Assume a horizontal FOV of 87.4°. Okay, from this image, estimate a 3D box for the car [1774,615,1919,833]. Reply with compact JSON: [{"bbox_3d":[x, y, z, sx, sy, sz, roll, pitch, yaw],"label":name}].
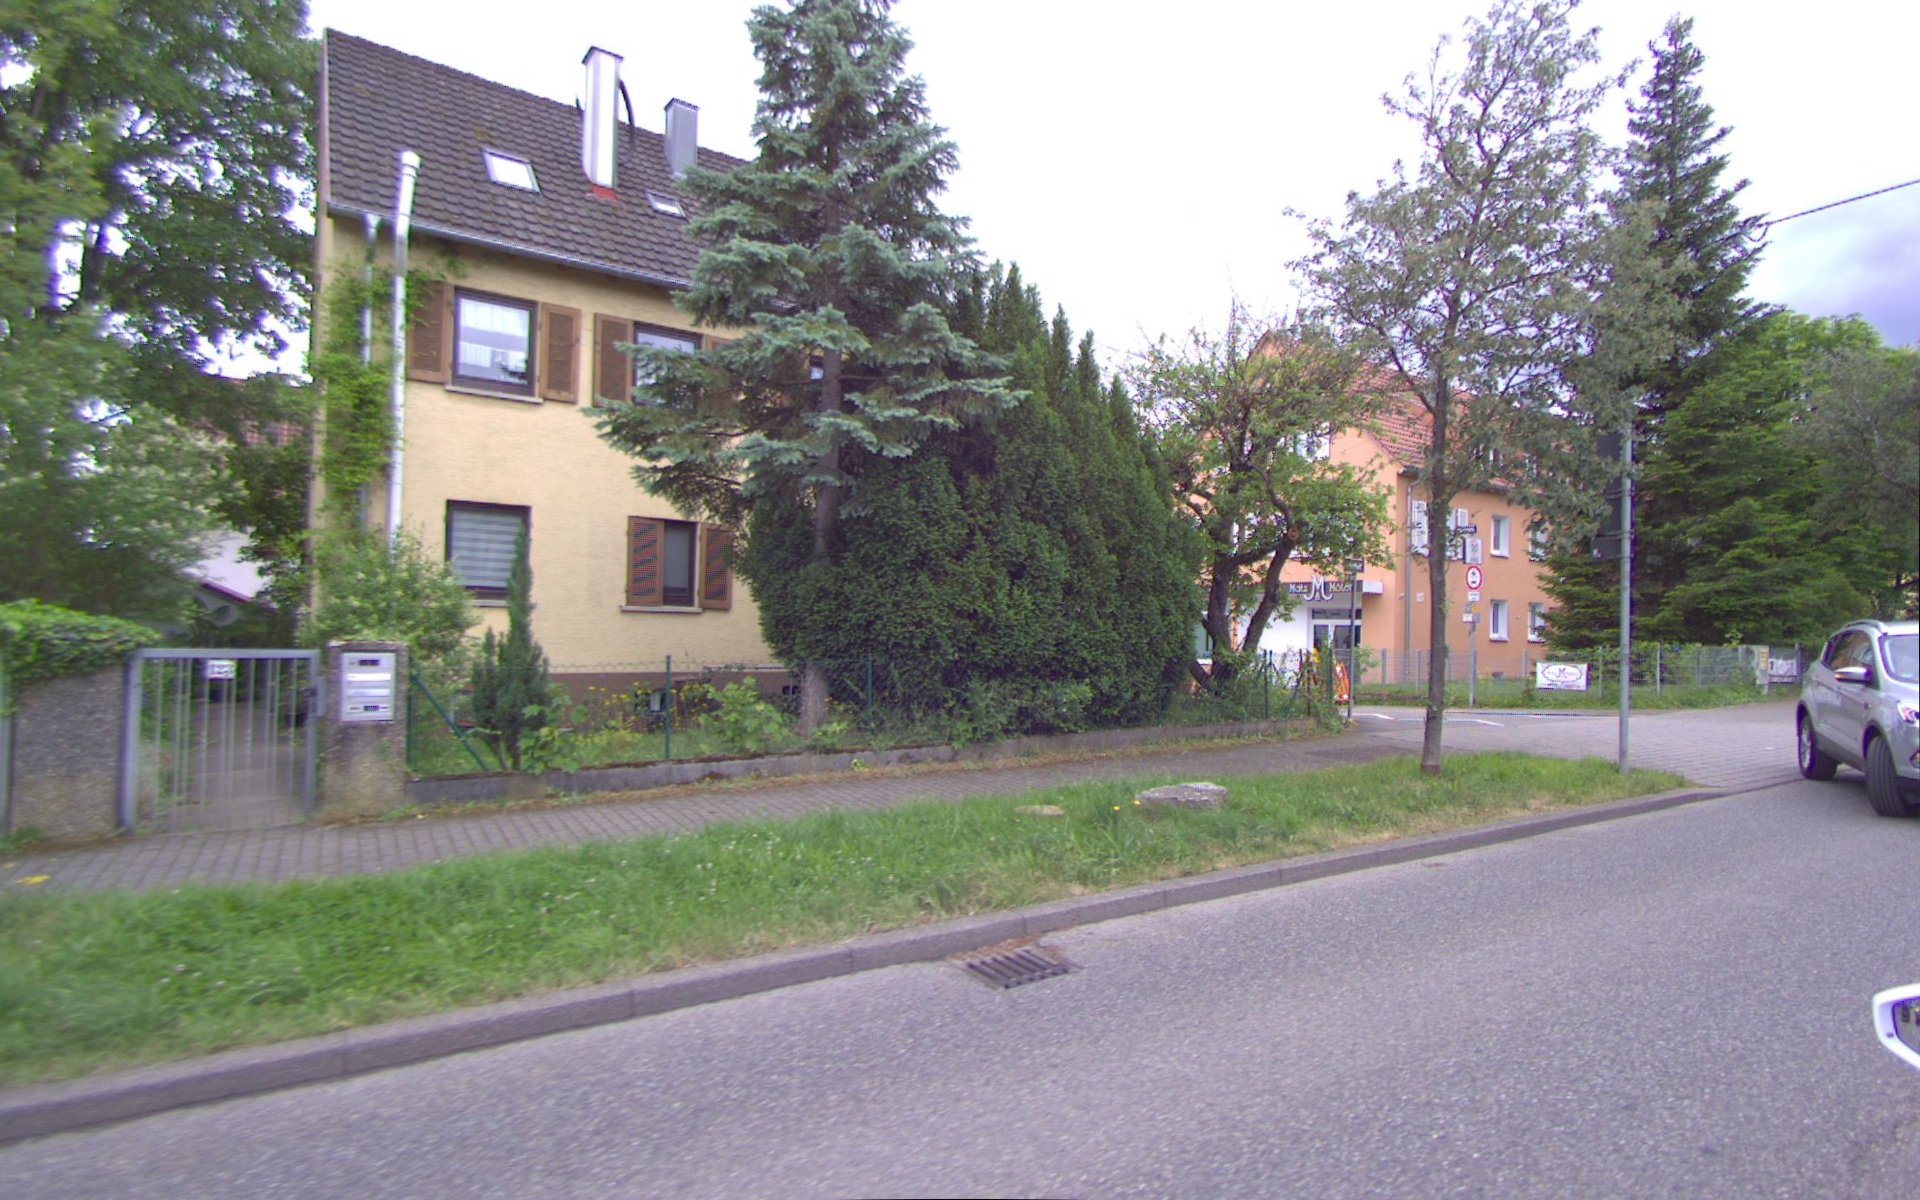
[{"bbox_3d":[9.269,1.003,9.367,1.715,1.728,4.095,-2,-2,27],"label":"car"}]
